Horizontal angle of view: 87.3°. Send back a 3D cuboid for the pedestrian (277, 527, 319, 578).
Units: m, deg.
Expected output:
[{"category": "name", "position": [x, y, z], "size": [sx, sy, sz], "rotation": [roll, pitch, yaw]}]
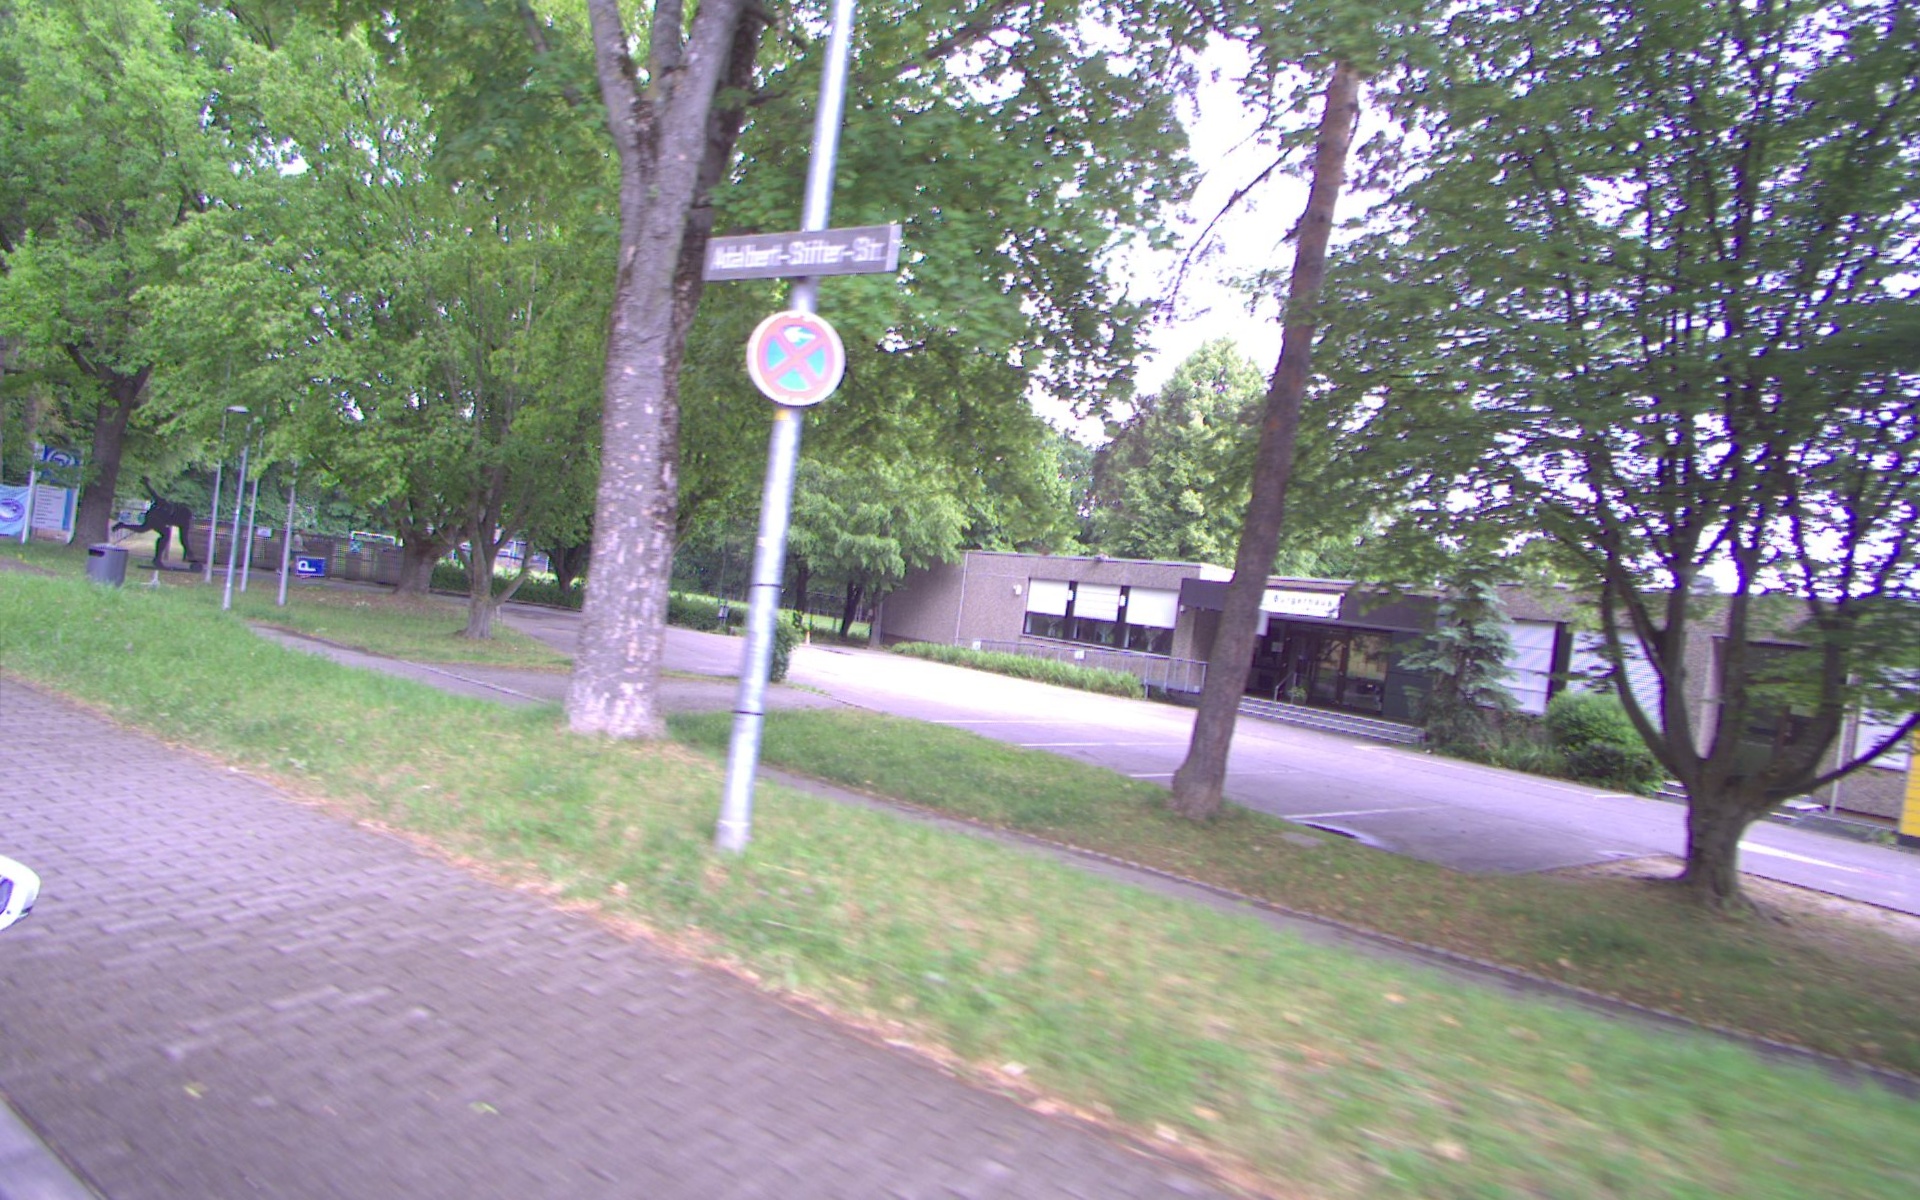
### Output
[{"category": "pedestrian", "position": [-24.214, -1.736, 36.809], "size": [1.140, 1.695, 0.786], "rotation": [6, 0, -34]}]
